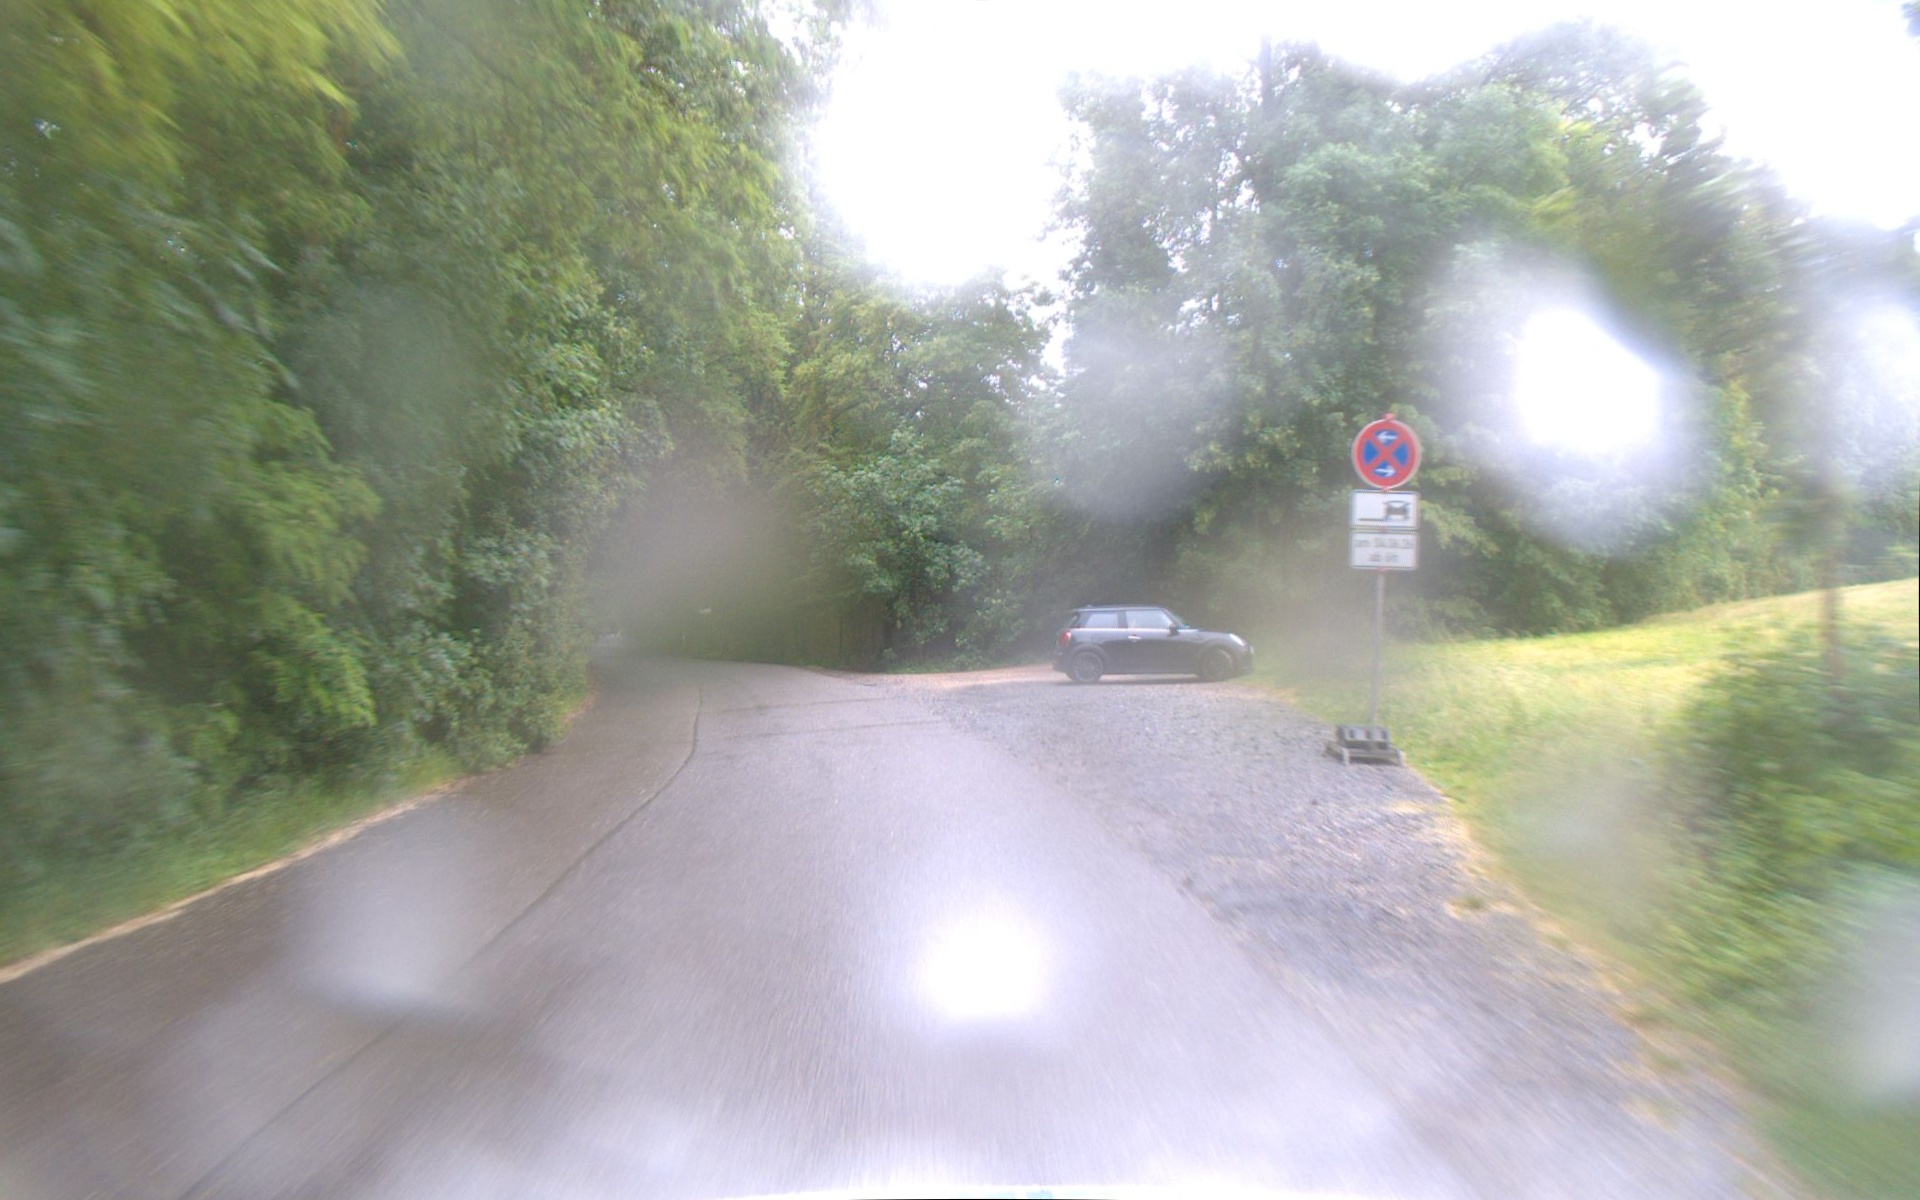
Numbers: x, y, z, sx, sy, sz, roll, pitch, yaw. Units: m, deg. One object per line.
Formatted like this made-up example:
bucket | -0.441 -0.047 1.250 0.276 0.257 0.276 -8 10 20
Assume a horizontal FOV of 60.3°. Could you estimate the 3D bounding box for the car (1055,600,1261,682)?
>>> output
car | 3.692 0.754 31.195 3.633 1.461 1.706 -1 -1 -3
